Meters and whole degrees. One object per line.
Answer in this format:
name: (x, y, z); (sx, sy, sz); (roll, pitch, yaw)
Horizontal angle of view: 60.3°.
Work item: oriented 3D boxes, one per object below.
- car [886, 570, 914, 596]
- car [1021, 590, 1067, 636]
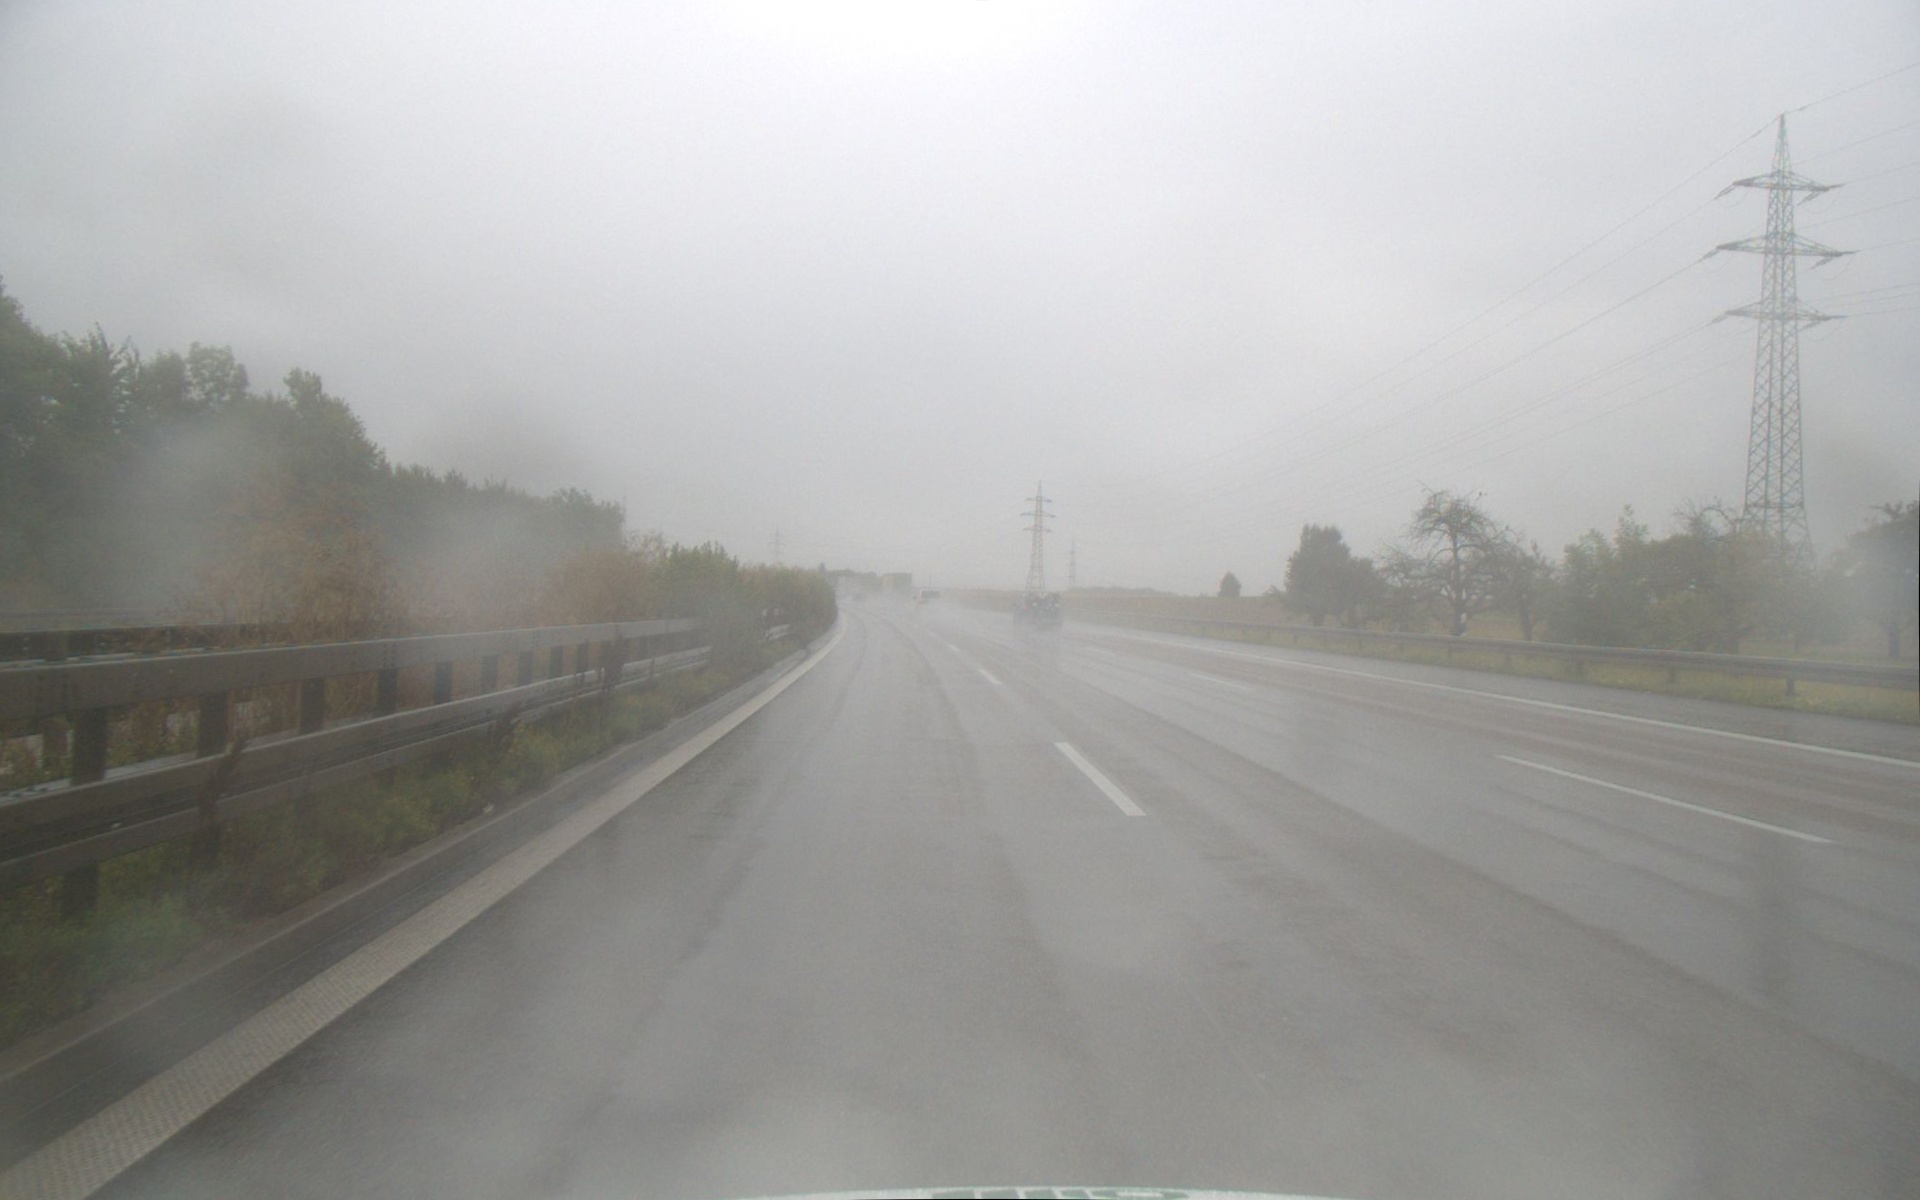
car: (-7.783, -2.136, 213.476); (3.139, 3.248, 7.247); (1, 0, -6)
car: (4.140, 0.634, 82.095); (1.772, 2.196, 3.996); (1, 0, -5)
